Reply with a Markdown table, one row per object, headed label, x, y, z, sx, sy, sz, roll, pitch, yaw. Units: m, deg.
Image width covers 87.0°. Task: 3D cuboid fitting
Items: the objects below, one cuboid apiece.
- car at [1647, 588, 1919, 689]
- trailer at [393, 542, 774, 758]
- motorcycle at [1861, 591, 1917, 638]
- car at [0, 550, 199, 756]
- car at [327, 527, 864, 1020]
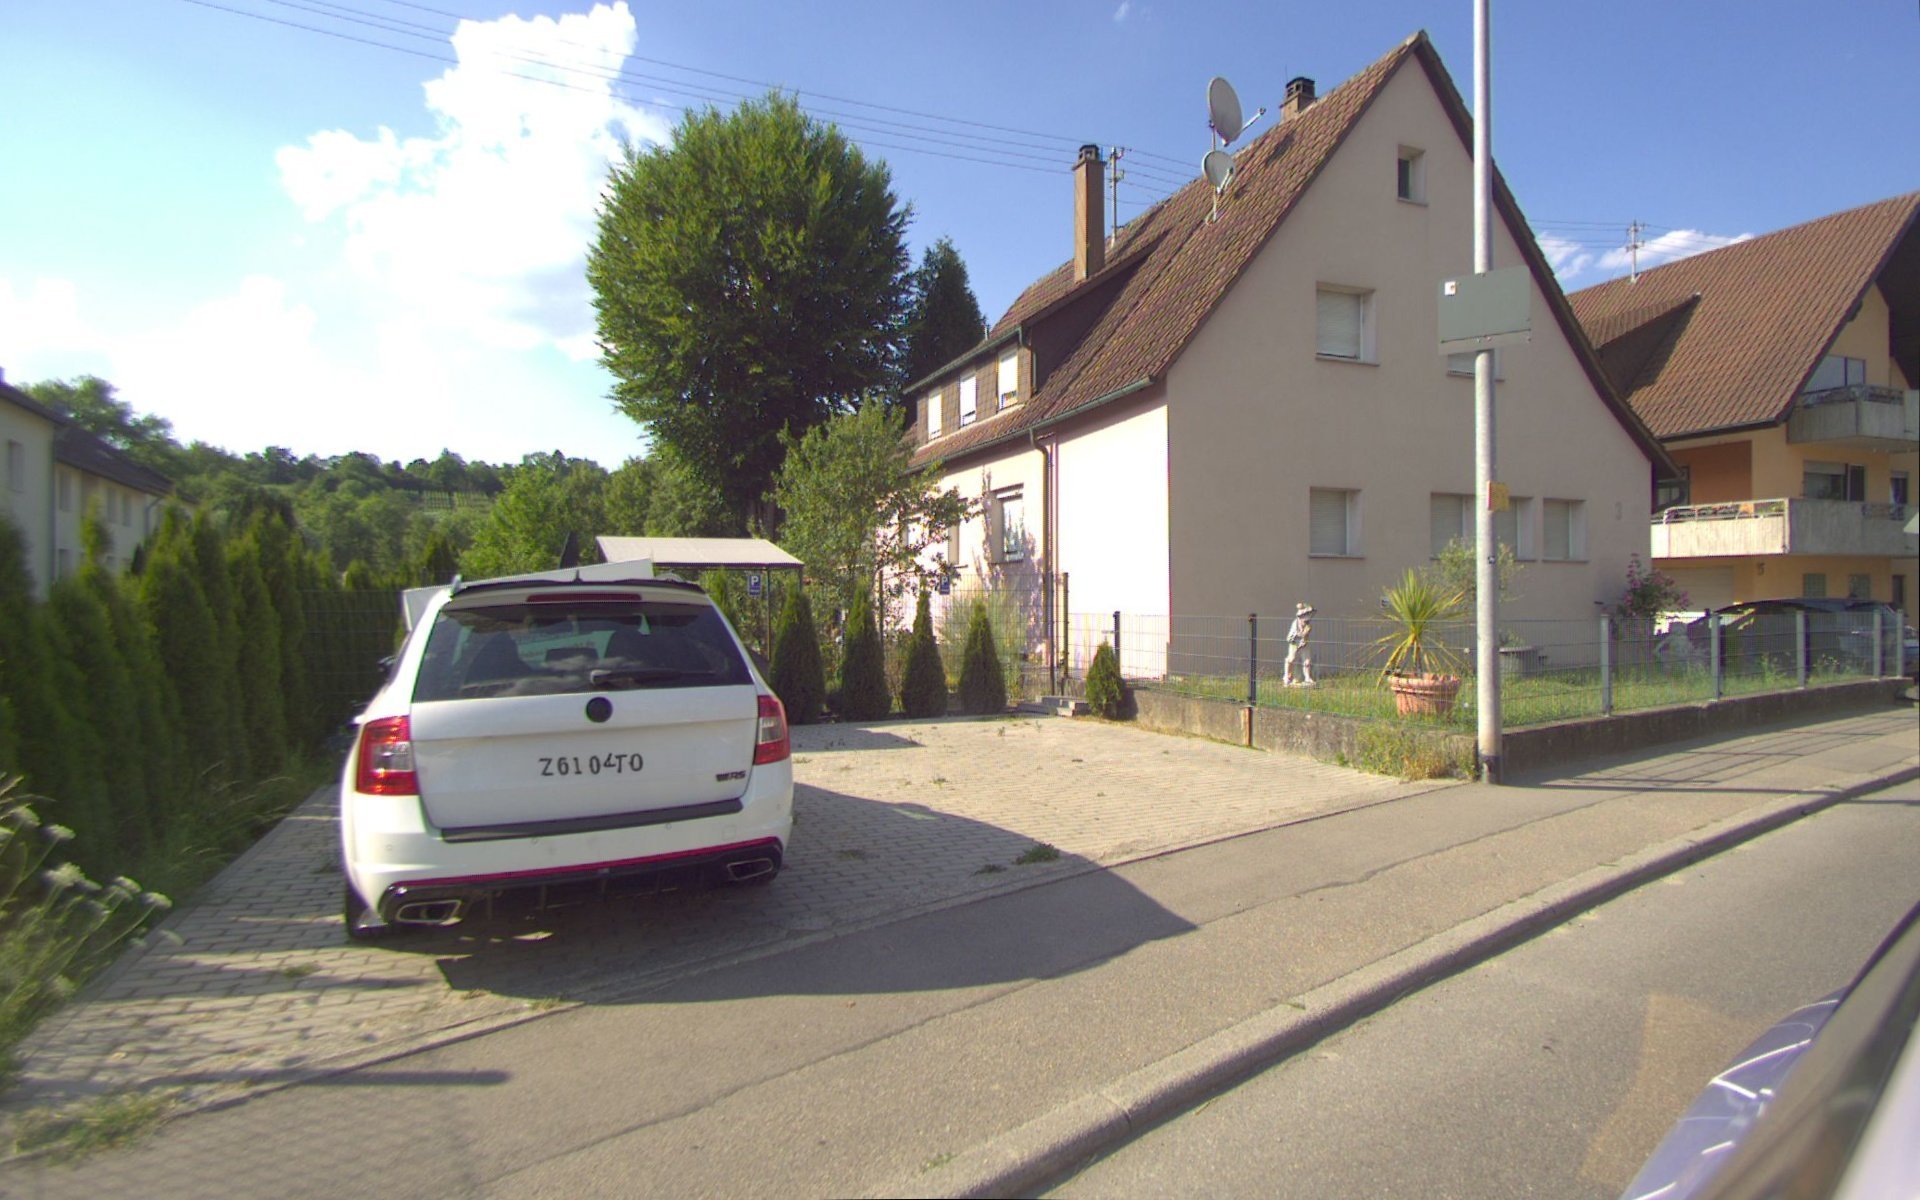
| label | x | y | z | sx | sy | sz | roll | pitch | yaw |
| --- | --- | --- | --- | --- | --- | --- | --- | --- | --- |
| car | 13.480 | 0.566 | 16.444 | 1.406 | 1.453 | 3.707 | 0 | -1 | -19 |
| trailer | -3.514 | 0.420 | 9.665 | 3.150 | 1.774 | 1.528 | 0 | -1 | -23 |
| motorcycle | 23.376 | 0.373 | 25.461 | 1.611 | 1.163 | 0.376 | 0 | -1 | -22 |
| car | -8.278 | 0.433 | 7.670 | 1.750 | 1.564 | 3.637 | -2 | -1 | 30 |
| car | -2.099 | 0.515 | 5.429 | 1.695 | 1.476 | 4.485 | -1 | 0 | -26 |
